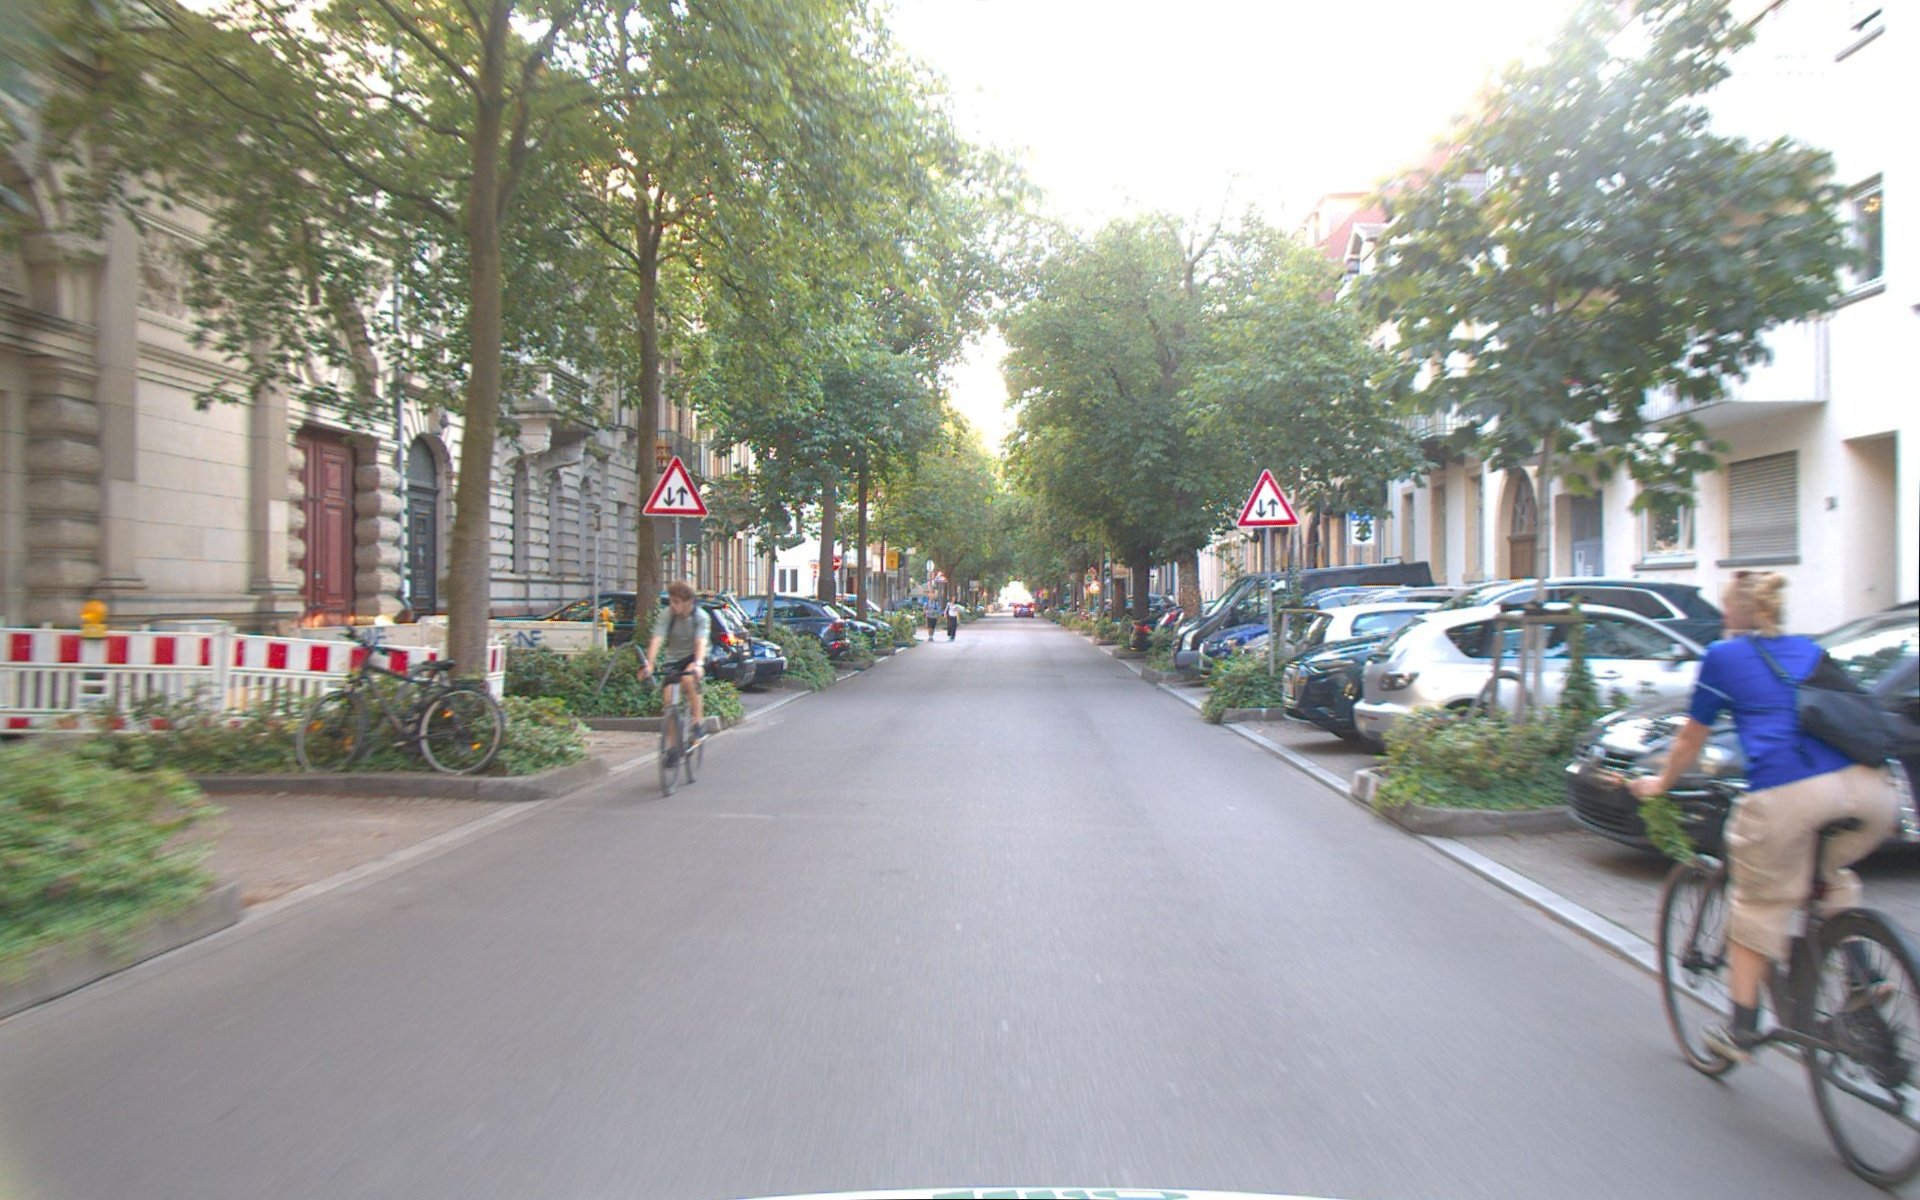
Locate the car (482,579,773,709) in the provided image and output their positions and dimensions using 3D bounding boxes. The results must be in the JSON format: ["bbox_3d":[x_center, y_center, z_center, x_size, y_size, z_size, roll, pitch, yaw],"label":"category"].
[{"bbox_3d":[-4.932,0.643,24.889,3.883,1.624,1.781,4,0,2],"label":"car"}]

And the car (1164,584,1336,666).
[{"bbox_3d":[6.595,0.558,37.906,3.604,1.606,1.714,-4,0,2],"label":"car"}]

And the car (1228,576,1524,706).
[{"bbox_3d":[6.120,0.594,24.655,3.884,1.606,1.851,-4,0,1],"label":"car"}]

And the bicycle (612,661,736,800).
[{"bbox_3d":[-2.359,1.051,13.824,0.658,1.011,1.759,-1,0,2],"label":"bicycle"}]

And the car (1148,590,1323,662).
[{"bbox_3d":[6.687,0.622,40.516,3.906,1.462,1.926,-4,0,0],"label":"car"}]

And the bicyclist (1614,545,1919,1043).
[{"bbox_3d":[2.491,0.551,5.035,0.658,1.387,0.776,1,-1,-3],"label":"bicyclist"}]

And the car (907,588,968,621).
[{"bbox_3d":[-1.694,0.351,125.768,4.585,2.521,2.000,0,-1,2],"label":"car"}]

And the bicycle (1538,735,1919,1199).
[{"bbox_3d":[2.477,1.012,5.036,0.658,1.048,1.976,1,-1,-2],"label":"bicycle"}]

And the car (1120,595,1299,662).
[{"bbox_3d":[6.443,0.723,43.034,4.311,1.418,1.885,-4,0,0],"label":"car"}]

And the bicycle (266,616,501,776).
[{"bbox_3d":[-4.651,0.759,13.382,1.733,1.254,0.500,0,-1,7],"label":"bicycle"}]

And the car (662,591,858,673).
[{"bbox_3d":[-4.471,0.691,37.389,4.114,1.701,1.908,1,0,2],"label":"car"}]

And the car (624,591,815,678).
[{"bbox_3d":[-5.035,0.708,34.982,3.722,1.701,1.714,1,0,1],"label":"car"}]

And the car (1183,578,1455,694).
[{"bbox_3d":[5.942,0.590,27.773,4.071,1.606,1.970,-4,0,0],"label":"car"}]

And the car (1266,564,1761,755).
[{"bbox_3d":[5.687,0.598,17.450,4.496,1.606,1.944,-4,0,1],"label":"car"}]

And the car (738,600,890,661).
[{"bbox_3d":[-3.867,0.807,44.318,3.863,1.559,1.908,1,-1,1],"label":"car"}]

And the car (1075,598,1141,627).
[{"bbox_3d":[8.037,0.669,90.166,3.412,1.478,1.899,-2,0,0],"label":"car"}]

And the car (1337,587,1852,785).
[{"bbox_3d":[5.664,0.748,15.199,3.989,1.454,1.819,-4,0,4],"label":"car"}]

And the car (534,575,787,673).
[{"bbox_3d":[-5.049,0.387,28.251,3.883,1.411,1.765,3,1,3],"label":"car"}]

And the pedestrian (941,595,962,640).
[{"bbox_3d":[-0.319,0.662,63.458,0.778,1.700,0.831,-1,0,1],"label":"pedestrian"}]

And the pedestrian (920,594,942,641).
[{"bbox_3d":[-1.126,0.667,63.696,0.778,1.767,0.831,-1,0,1],"label":"pedestrian"}]

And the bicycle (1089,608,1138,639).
[{"bbox_3d":[6.196,0.947,66.789,1.803,1.155,0.743,-2,0,-9],"label":"bicycle"}]

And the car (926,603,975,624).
[{"bbox_3d":[-0.832,1.192,145.907,4.116,1.664,1.963,-2,-1,2],"label":"car"}]

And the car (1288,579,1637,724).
[{"bbox_3d":[6.081,0.611,20.328,3.715,1.448,1.698,-4,0,1],"label":"car"}]

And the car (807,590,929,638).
[{"bbox_3d":[-3.405,0.507,61.560,4.333,1.680,1.873,1,0,3],"label":"car"}]

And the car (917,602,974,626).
[{"bbox_3d":[-1.214,1.180,138.188,4.585,1.886,1.963,-2,-1,2],"label":"car"}]

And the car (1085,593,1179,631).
[{"bbox_3d":[8.122,0.569,78.462,4.333,1.685,1.900,-1,0,3],"label":"car"}]

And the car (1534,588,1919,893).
[{"bbox_3d":[5.709,0.694,9.423,4.226,1.522,1.794,-2,0,1],"label":"car"}]

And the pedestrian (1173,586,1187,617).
[{"bbox_3d":[11.504,0.081,86.363,0.641,1.563,0.831,-1,0,3],"label":"pedestrian"}]

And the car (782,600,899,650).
[{"bbox_3d":[-3.883,0.803,54.168,3.616,1.484,1.873,1,0,1],"label":"car"}]

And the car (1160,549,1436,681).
[{"bbox_3d":[6.137,0.276,30.451,4.593,2.046,2.037,-4,0,1],"label":"car"}]

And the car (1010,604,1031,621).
[{"bbox_3d":[5.948,1.209,162.489,1.916,1.593,4.283,-2,-1,2],"label":"car"}]

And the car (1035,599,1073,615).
[{"bbox_3d":[10.720,0.813,188.370,4.180,1.593,1.963,-2,-1,2],"label":"car"}]

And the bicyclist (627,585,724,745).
[{"bbox_3d":[-2.359,0.527,13.762,0.658,1.286,0.648,-1,0,2],"label":"bicyclist"}]
